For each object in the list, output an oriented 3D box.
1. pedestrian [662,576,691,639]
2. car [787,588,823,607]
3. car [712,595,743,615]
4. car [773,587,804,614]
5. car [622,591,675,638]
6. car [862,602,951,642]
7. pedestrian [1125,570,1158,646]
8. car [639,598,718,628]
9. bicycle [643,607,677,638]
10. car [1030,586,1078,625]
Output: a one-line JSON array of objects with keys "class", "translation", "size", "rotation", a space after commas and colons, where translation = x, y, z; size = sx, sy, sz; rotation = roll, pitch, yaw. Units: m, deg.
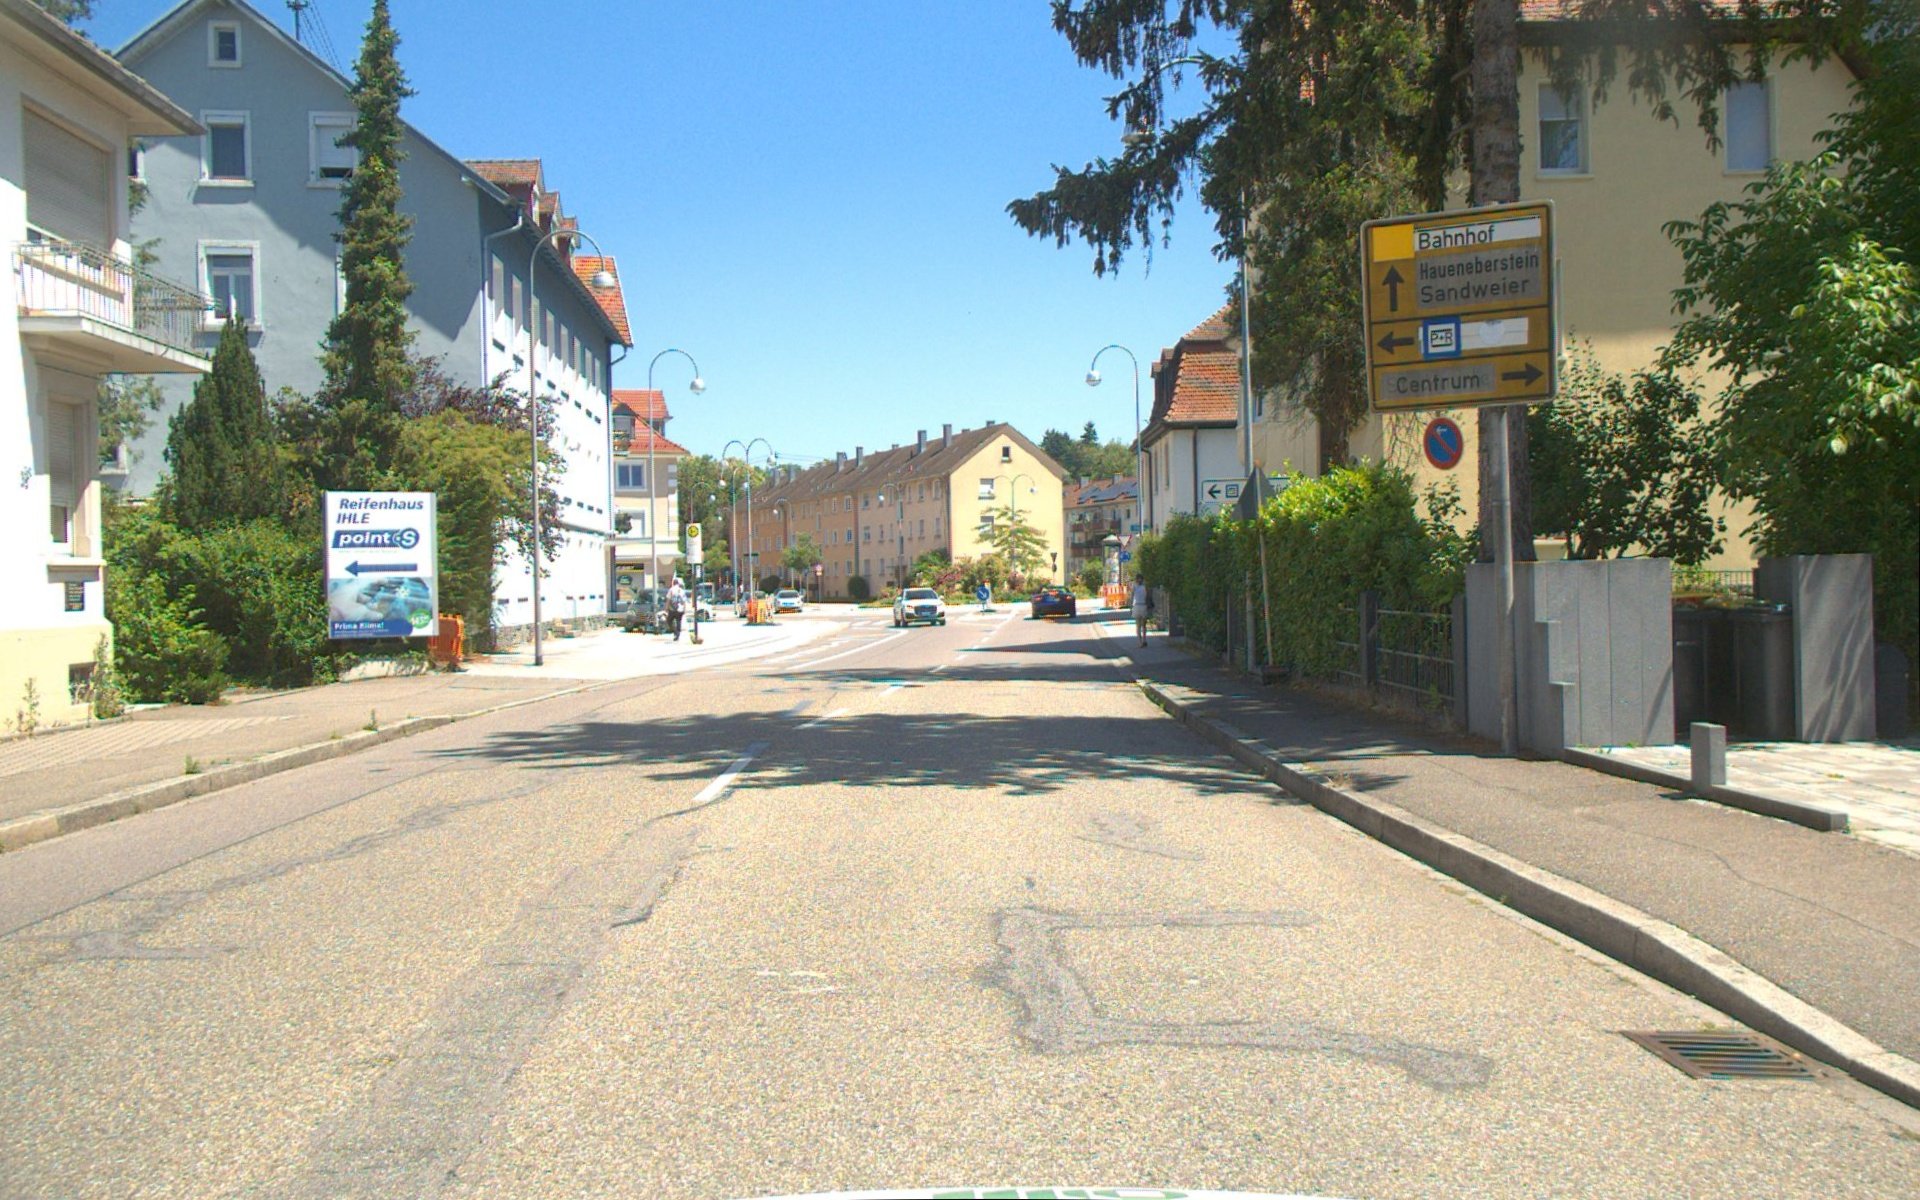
[{"class": "pedestrian", "translation": [-8.632, 0.224, 50.325], "size": [0.741, 1.880, 0.771], "rotation": [2, -1, -5]}, {"class": "car", "translation": [-12.911, -0.211, 137.970], "size": [1.790, 1.526, 3.968], "rotation": [0, -1, -25]}, {"class": "car", "translation": [-21.508, 0.461, 153.165], "size": [1.790, 1.825, 3.968], "rotation": [0, -1, -25]}, {"class": "car", "translation": [-11.232, 0.043, 107.948], "size": [1.749, 1.777, 4.119], "rotation": [0, 0, -10]}, {"class": "car", "translation": [-10.977, 0.539, 58.459], "size": [1.547, 1.561, 3.769], "rotation": [-1, -1, -6]}, {"class": "car", "translation": [-2.200, 0.904, 67.189], "size": [1.806, 1.557, 3.901], "rotation": [0, -2, -35]}, {"class": "pedestrian", "translation": [4.110, 0.176, 37.501], "size": [0.610, 1.672, 0.772], "rotation": [-2, 0, 0]}, {"class": "car", "translation": [-14.740, 0.675, 86.826], "size": [4.039, 1.578, 1.783], "rotation": [0, 0, -9]}, {"class": "bicycle", "translation": [-9.874, 0.736, 54.507], "size": [0.485, 0.994, 1.974], "rotation": [3, 0, 8]}, {"class": "car", "translation": [3.962, 0.264, 70.470], "size": [1.832, 1.557, 4.507], "rotation": [-1, -1, 1]}]
